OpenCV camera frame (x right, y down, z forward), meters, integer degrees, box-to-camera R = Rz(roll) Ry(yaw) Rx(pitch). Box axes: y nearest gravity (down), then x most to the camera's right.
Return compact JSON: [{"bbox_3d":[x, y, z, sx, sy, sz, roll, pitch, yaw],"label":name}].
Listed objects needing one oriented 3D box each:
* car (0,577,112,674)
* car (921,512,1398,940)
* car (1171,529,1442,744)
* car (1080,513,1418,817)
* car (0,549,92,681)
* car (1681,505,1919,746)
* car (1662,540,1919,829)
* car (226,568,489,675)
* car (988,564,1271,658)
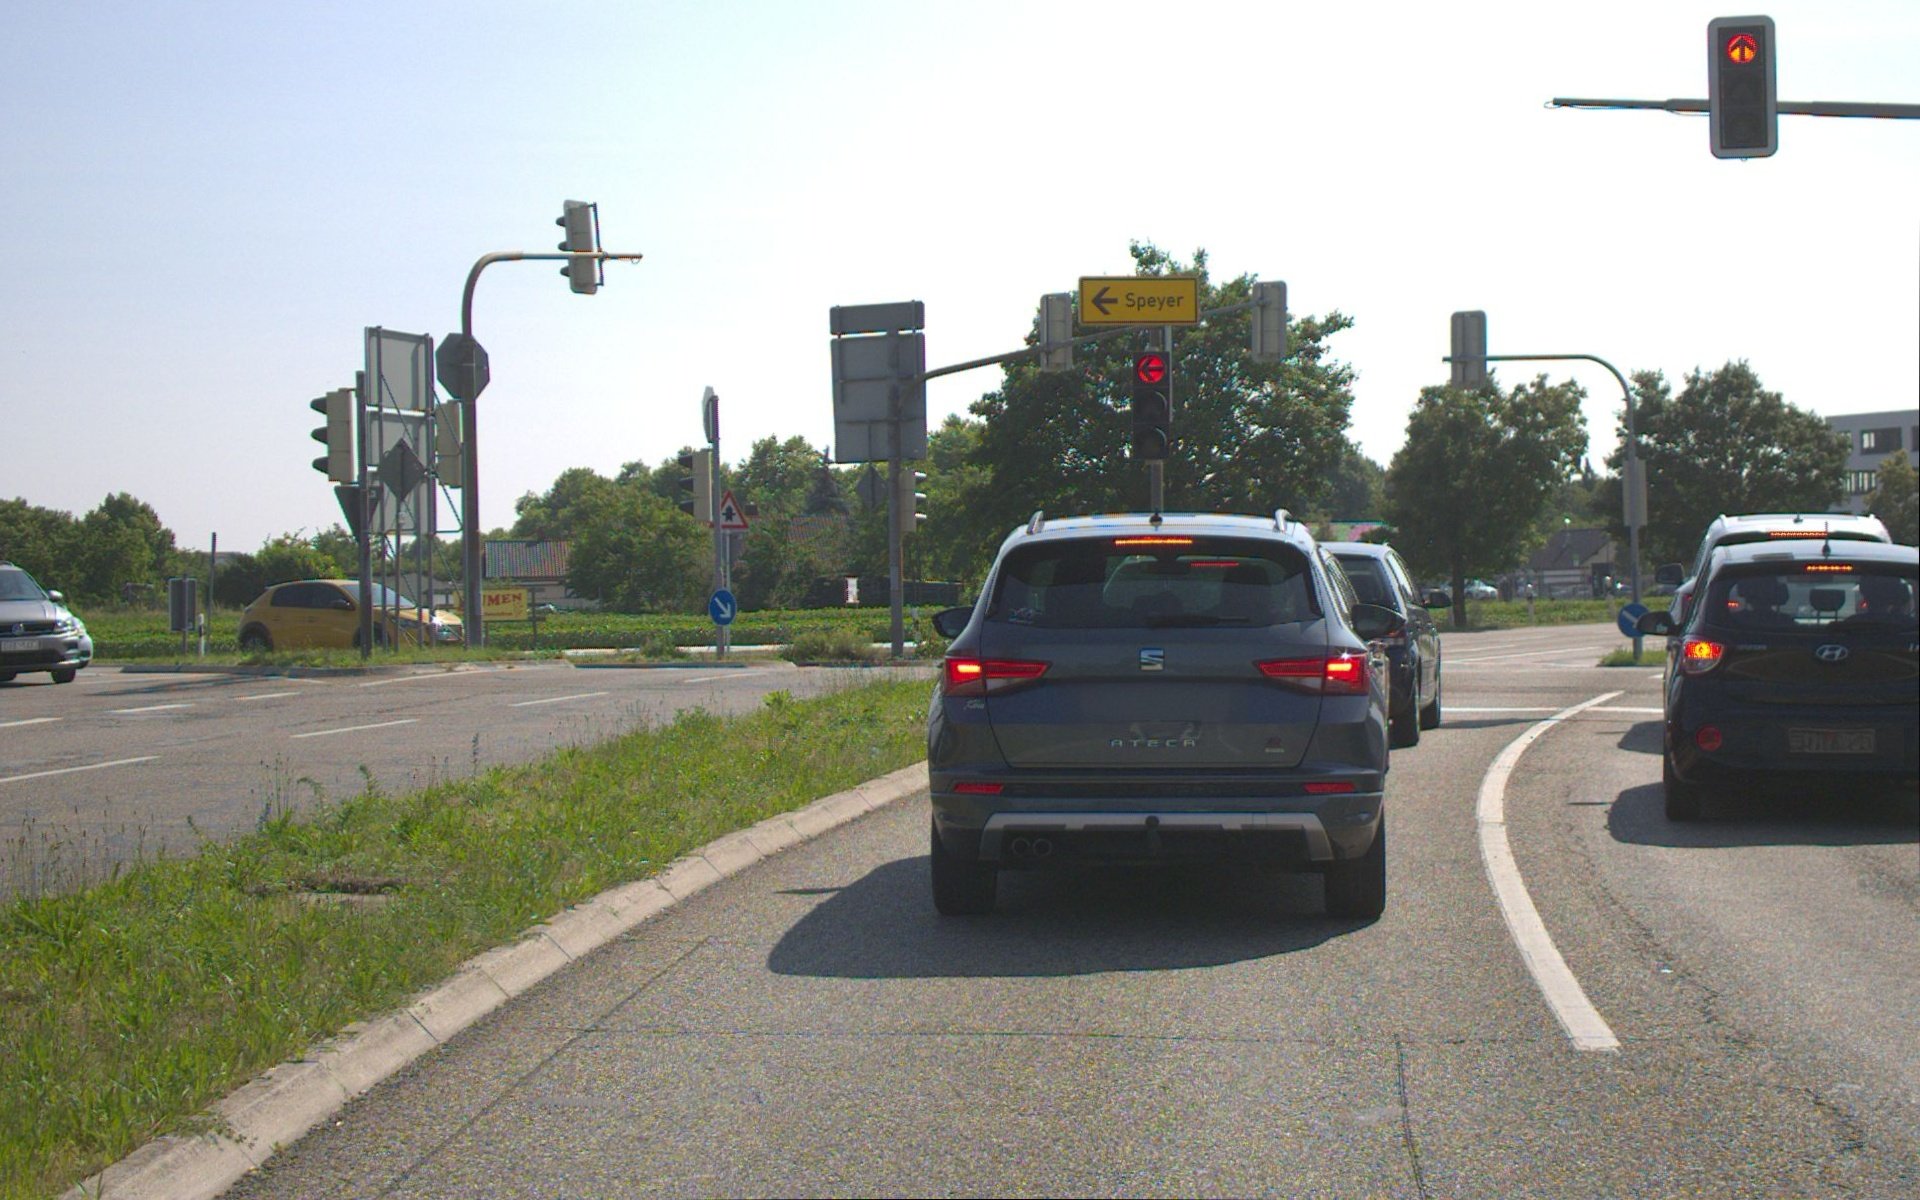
[{"bbox_3d":[-17.036,0.445,60.551,3.994,1.645,1.817,0,1,33],"label":"car"},{"bbox_3d":[0.872,0.439,14.441,1.742,1.563,3.624,0,1,5],"label":"car"},{"bbox_3d":[2.680,0.234,25.948,1.743,1.479,3.623,1,1,10],"label":"car"},{"bbox_3d":[1.692,0.321,19.896,1.742,1.563,3.623,1,1,6],"label":"car"},{"bbox_3d":[-12.846,0.187,44.817,1.814,1.645,4.000,-1,1,-32],"label":"car"},{"bbox_3d":[6.296,0.150,25.941,1.634,1.671,3.748,1,1,12],"label":"car"},{"bbox_3d":[4.720,0.398,19.003,1.634,1.443,3.293,1,1,12],"label":"car"},{"bbox_3d":[-9.738,0.337,55.497,3.994,1.645,1.817,0,1,33],"label":"car"},{"bbox_3d":[2.643,0.158,53.822,4.097,1.411,1.714,0,1,32],"label":"car"}]
